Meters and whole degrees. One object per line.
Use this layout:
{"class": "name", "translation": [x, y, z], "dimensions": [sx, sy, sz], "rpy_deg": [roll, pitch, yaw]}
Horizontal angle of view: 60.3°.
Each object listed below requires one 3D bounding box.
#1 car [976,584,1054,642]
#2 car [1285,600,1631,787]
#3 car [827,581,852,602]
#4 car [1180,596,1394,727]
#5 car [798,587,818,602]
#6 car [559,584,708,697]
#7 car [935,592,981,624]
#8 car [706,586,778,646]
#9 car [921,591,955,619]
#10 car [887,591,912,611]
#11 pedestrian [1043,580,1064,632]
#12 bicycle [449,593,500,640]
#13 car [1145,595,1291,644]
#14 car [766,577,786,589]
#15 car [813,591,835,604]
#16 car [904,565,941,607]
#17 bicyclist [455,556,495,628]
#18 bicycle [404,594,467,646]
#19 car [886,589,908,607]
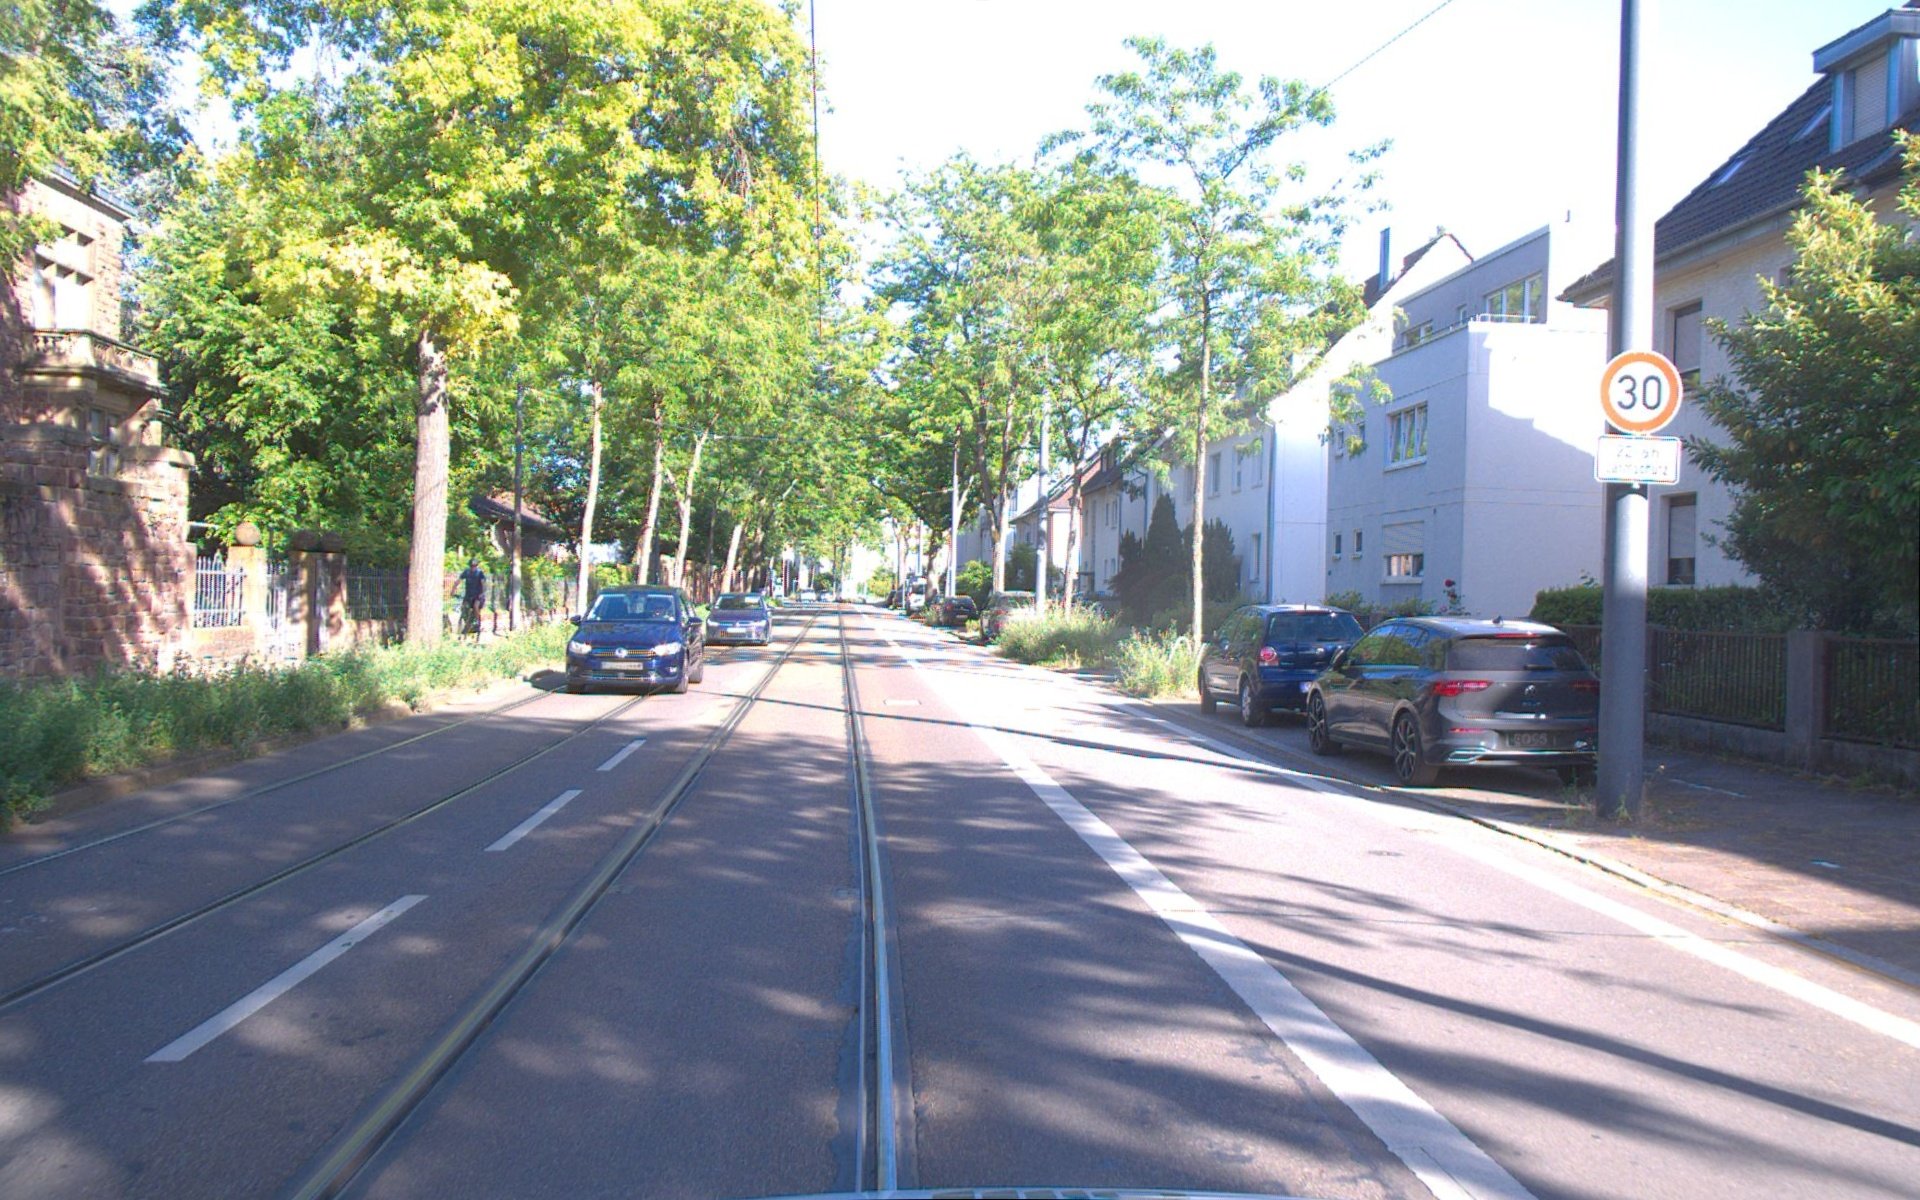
{"class": "car", "translation": [1.750, 0.381, 53.853], "dimensions": [1.955, 1.734, 4.472], "rpy_deg": [-2, 1, -5]}
{"class": "car", "translation": [4.569, 0.775, 15.924], "dimensions": [1.714, 1.521, 4.439], "rpy_deg": [0, 0, -4]}
{"class": "car", "translation": [-14.295, -1.035, 196.023], "dimensions": [1.962, 2.501, 4.487], "rpy_deg": [1, 0, -17]}
{"class": "car", "translation": [4.113, 0.717, 21.446], "dimensions": [1.714, 1.521, 3.993], "rpy_deg": [0, 0, -4]}
{"class": "car", "translation": [-17.590, -0.680, 191.783], "dimensions": [1.833, 1.704, 4.160], "rpy_deg": [1, 0, -12]}
{"class": "car", "translation": [-4.902, 0.564, 25.308], "dimensions": [1.714, 1.551, 4.032], "rpy_deg": [1, 0, -4]}
{"class": "car", "translation": [-0.127, 0.366, 80.136], "dimensions": [1.749, 1.473, 4.296], "rpy_deg": [-2, 1, -6]}
{"class": "car", "translation": [-6.029, 0.416, 46.141], "dimensions": [1.714, 1.551, 4.066], "rpy_deg": [1, 0, -4]}
{"class": "car", "translation": [-1.209, 0.259, 89.784], "dimensions": [1.595, 1.422, 3.642], "rpy_deg": [-2, 1, -5]}
{"class": "car", "translation": [-5.259, 0.103, 143.359], "dimensions": [1.963, 1.704, 4.388], "rpy_deg": [-1, 0, -5]}
{"class": "pedestrian", "translation": [3.440, 0.216, 60.862], "dimensions": [0.613, 1.903, 0.731], "rpy_deg": [-2, 0, -5]}
{"class": "bicycle", "translation": [-10.631, 0.346, 36.252], "dimensions": [0.578, 0.977, 2.131], "rpy_deg": [1, 0, -3]}
{"class": "car", "translation": [7.701, 0.581, 49.587], "dimensions": [3.971, 1.366, 1.876], "rpy_deg": [1, 0, -5]}
{"class": "car", "translation": [-28.931, -2.687, 260.108], "dimensions": [1.975, 1.943, 4.363], "rpy_deg": [-1, 0, -22]}
{"class": "car", "translation": [-17.574, -0.310, 213.705], "dimensions": [1.971, 1.588, 4.372], "rpy_deg": [1, 0, -16]}
{"class": "car", "translation": [-2.573, -0.946, 111.346], "dimensions": [2.201, 2.700, 5.580], "rpy_deg": [0, 0, -4]}
{"class": "bicyclist", "translation": [-10.611, -0.178, 36.205], "dimensions": [0.582, 1.554, 1.060], "rpy_deg": [1, 0, -3]}
{"class": "bicycle", "translation": [-10.511, 0.386, 33.207], "dimensions": [0.697, 0.977, 2.093], "rpy_deg": [1, 0, -3]}
{"class": "car", "translation": [-6.125, -0.205, 160.856], "dimensions": [1.962, 1.704, 4.392], "rpy_deg": [-1, 0, 0]}
